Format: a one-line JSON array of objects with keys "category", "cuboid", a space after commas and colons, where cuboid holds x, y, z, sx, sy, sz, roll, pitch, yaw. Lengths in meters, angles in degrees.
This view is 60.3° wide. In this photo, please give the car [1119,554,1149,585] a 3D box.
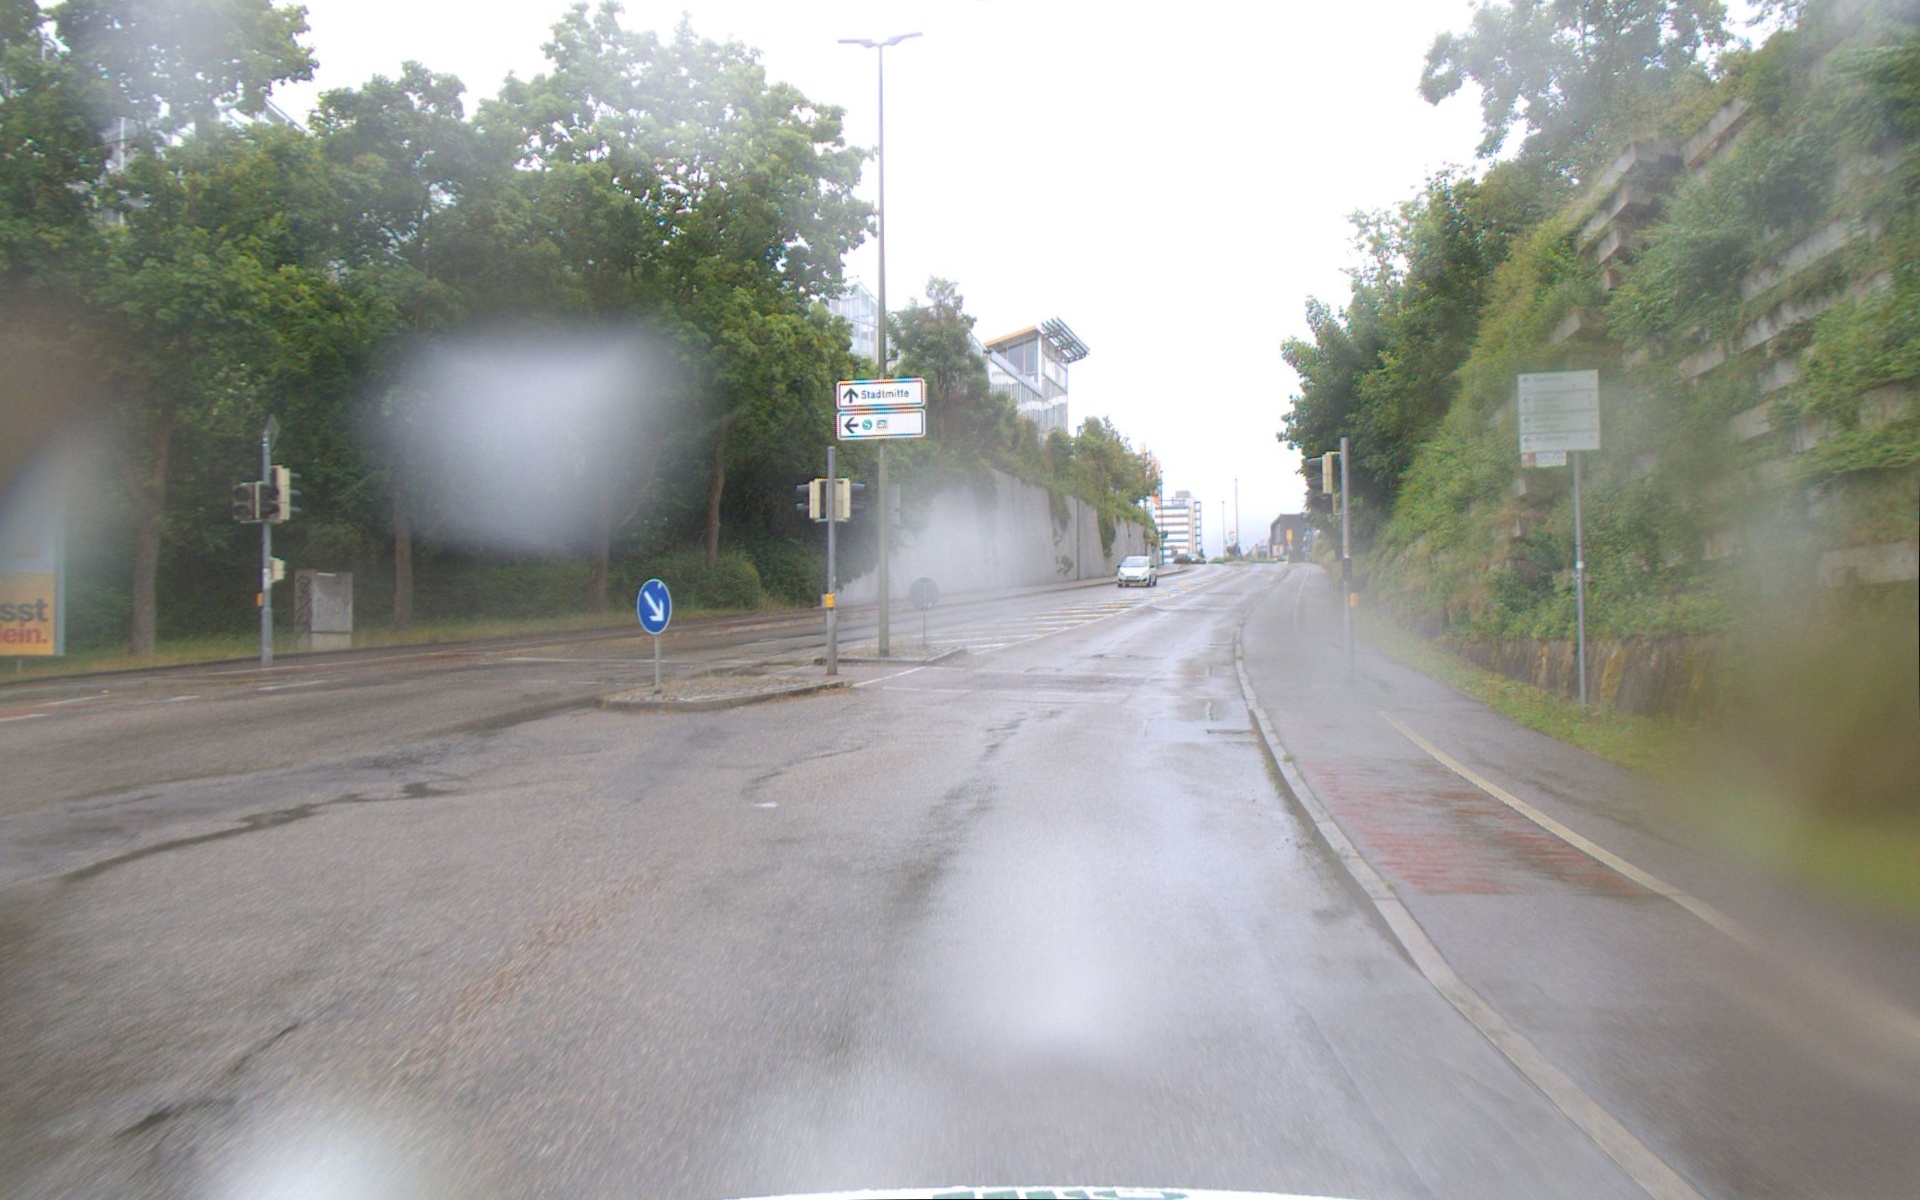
[{"category": "car", "cuboid": [8.643, -1.484, 82.175, 1.480, 1.474, 3.819, 0, 0, 6]}]
